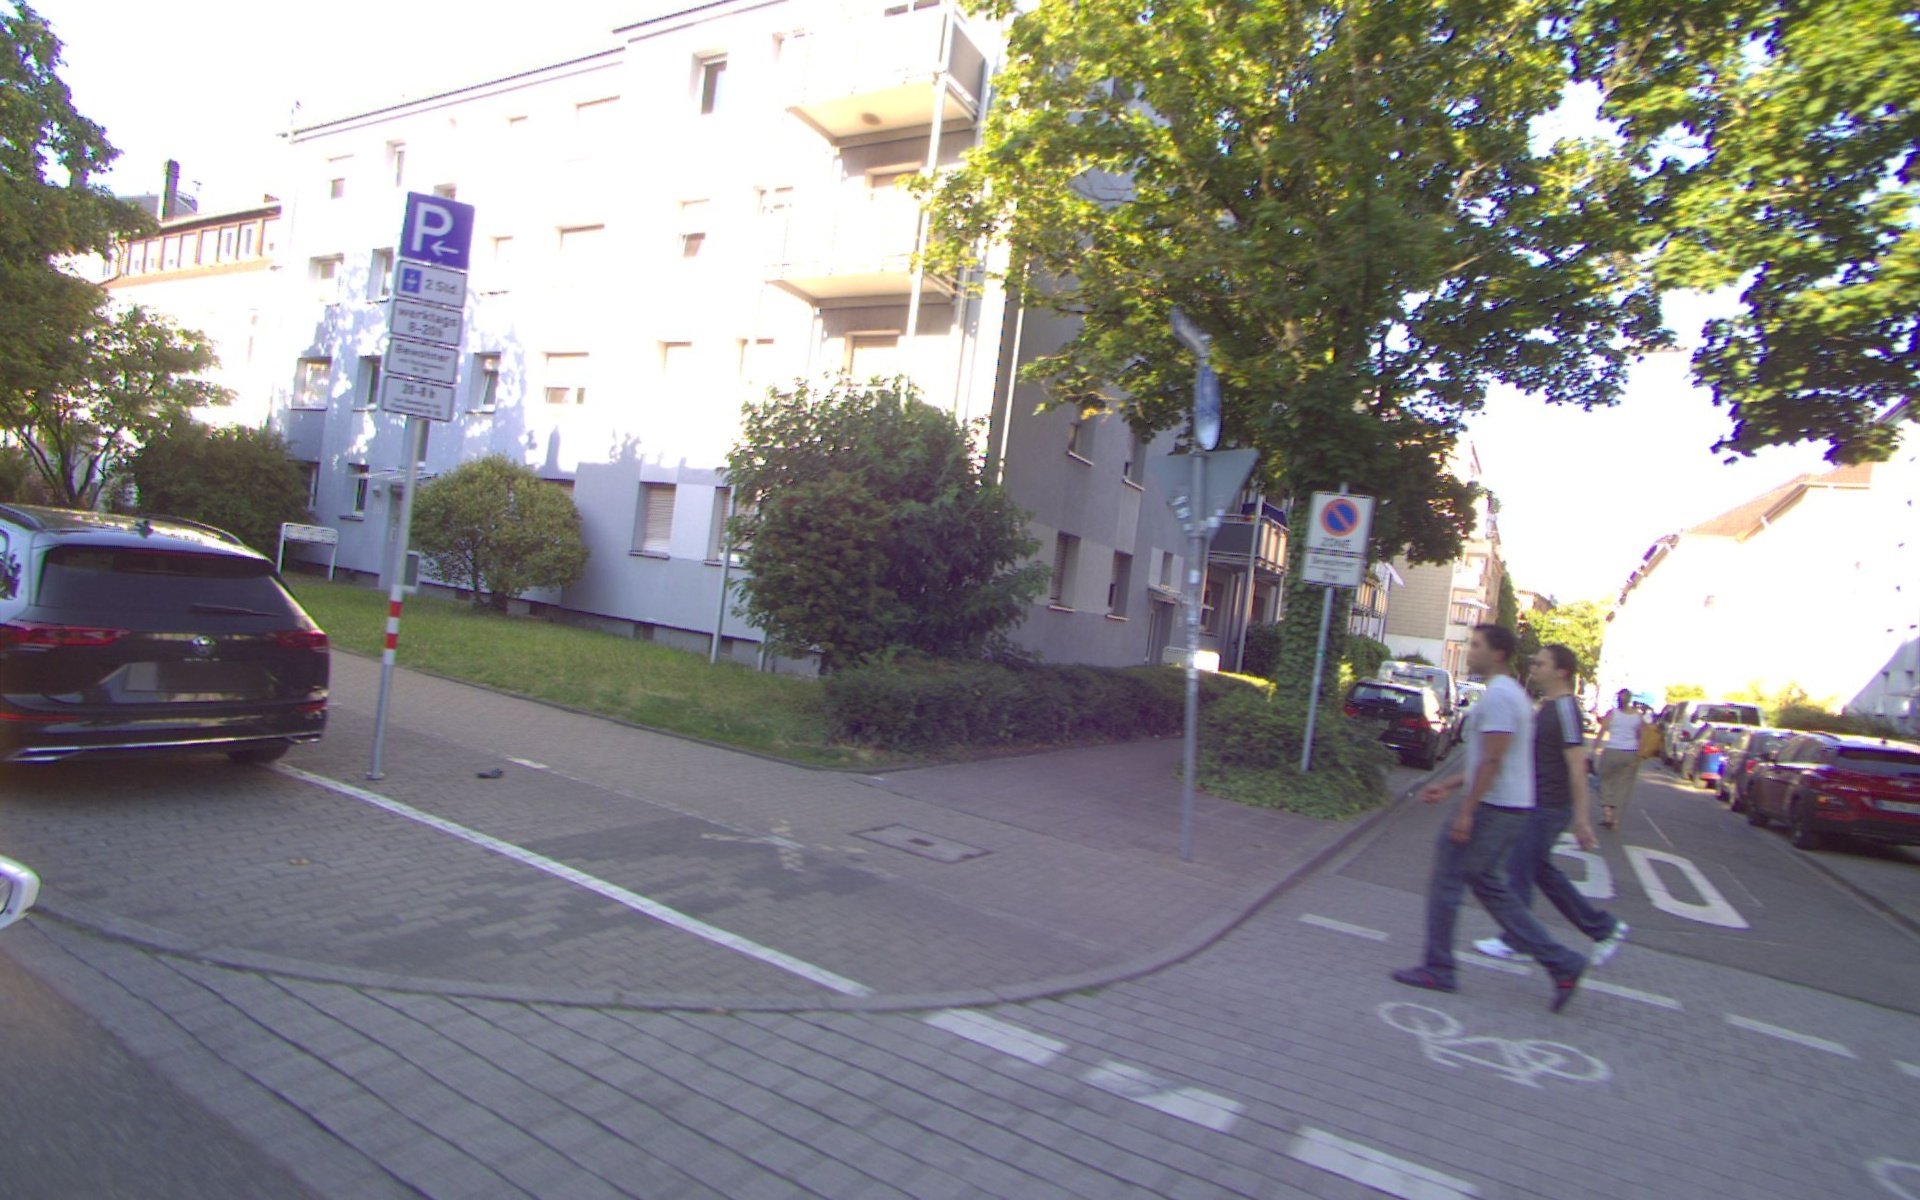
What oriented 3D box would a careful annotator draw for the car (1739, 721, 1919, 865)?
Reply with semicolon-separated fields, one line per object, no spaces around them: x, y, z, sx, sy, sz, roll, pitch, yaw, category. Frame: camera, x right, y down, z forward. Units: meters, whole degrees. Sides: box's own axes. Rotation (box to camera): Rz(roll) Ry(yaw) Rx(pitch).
12.683;2.662;14.361;1.730;1.574;4.249;8;-2;30;car

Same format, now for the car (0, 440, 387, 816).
-5.702;-0.005;6.326;4.182;1.706;1.757;7;-2;33;car

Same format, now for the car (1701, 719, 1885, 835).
15.055;3.118;18.435;1.730;1.574;4.249;8;-2;30;car

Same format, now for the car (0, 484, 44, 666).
-10.427;-0.493;9.196;4.034;1.574;1.759;7;-2;30;car

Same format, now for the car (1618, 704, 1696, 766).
23.212;4.479;33.607;1.632;1.709;3.649;8;-2;30;car

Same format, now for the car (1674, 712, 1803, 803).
17.195;3.433;22.379;1.606;1.574;3.649;8;-2;30;car

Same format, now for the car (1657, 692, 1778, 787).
20.273;3.714;27.110;1.932;2.034;4.248;8;-2;31;car

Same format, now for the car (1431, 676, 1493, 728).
19.542;3.977;39.056;1.730;1.662;4.249;8;-2;30;car

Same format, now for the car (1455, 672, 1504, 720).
25.777;4.807;49.867;1.730;2.000;4.249;8;-2;30;car

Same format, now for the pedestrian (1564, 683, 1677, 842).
8.056;1.949;12.313;0.786;1.743;0.744;7;1;17;pedestrian

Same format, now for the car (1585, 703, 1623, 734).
39.880;7.362;62.359;1.583;1.627;3.649;8;-2;30;car

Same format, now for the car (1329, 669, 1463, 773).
8.265;2.251;18.863;1.701;1.477;4.169;8;-2;30;car

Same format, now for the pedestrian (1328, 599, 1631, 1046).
2.577;1.014;5.044;1.050;1.884;0.749;8;1;30;pedestrian

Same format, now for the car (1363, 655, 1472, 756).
10.770;2.482;23.511;1.730;1.900;4.249;8;-2;30;car

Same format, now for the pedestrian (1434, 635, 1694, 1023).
3.431;1.211;5.724;0.937;1.884;0.797;8;2;42;pedestrian
